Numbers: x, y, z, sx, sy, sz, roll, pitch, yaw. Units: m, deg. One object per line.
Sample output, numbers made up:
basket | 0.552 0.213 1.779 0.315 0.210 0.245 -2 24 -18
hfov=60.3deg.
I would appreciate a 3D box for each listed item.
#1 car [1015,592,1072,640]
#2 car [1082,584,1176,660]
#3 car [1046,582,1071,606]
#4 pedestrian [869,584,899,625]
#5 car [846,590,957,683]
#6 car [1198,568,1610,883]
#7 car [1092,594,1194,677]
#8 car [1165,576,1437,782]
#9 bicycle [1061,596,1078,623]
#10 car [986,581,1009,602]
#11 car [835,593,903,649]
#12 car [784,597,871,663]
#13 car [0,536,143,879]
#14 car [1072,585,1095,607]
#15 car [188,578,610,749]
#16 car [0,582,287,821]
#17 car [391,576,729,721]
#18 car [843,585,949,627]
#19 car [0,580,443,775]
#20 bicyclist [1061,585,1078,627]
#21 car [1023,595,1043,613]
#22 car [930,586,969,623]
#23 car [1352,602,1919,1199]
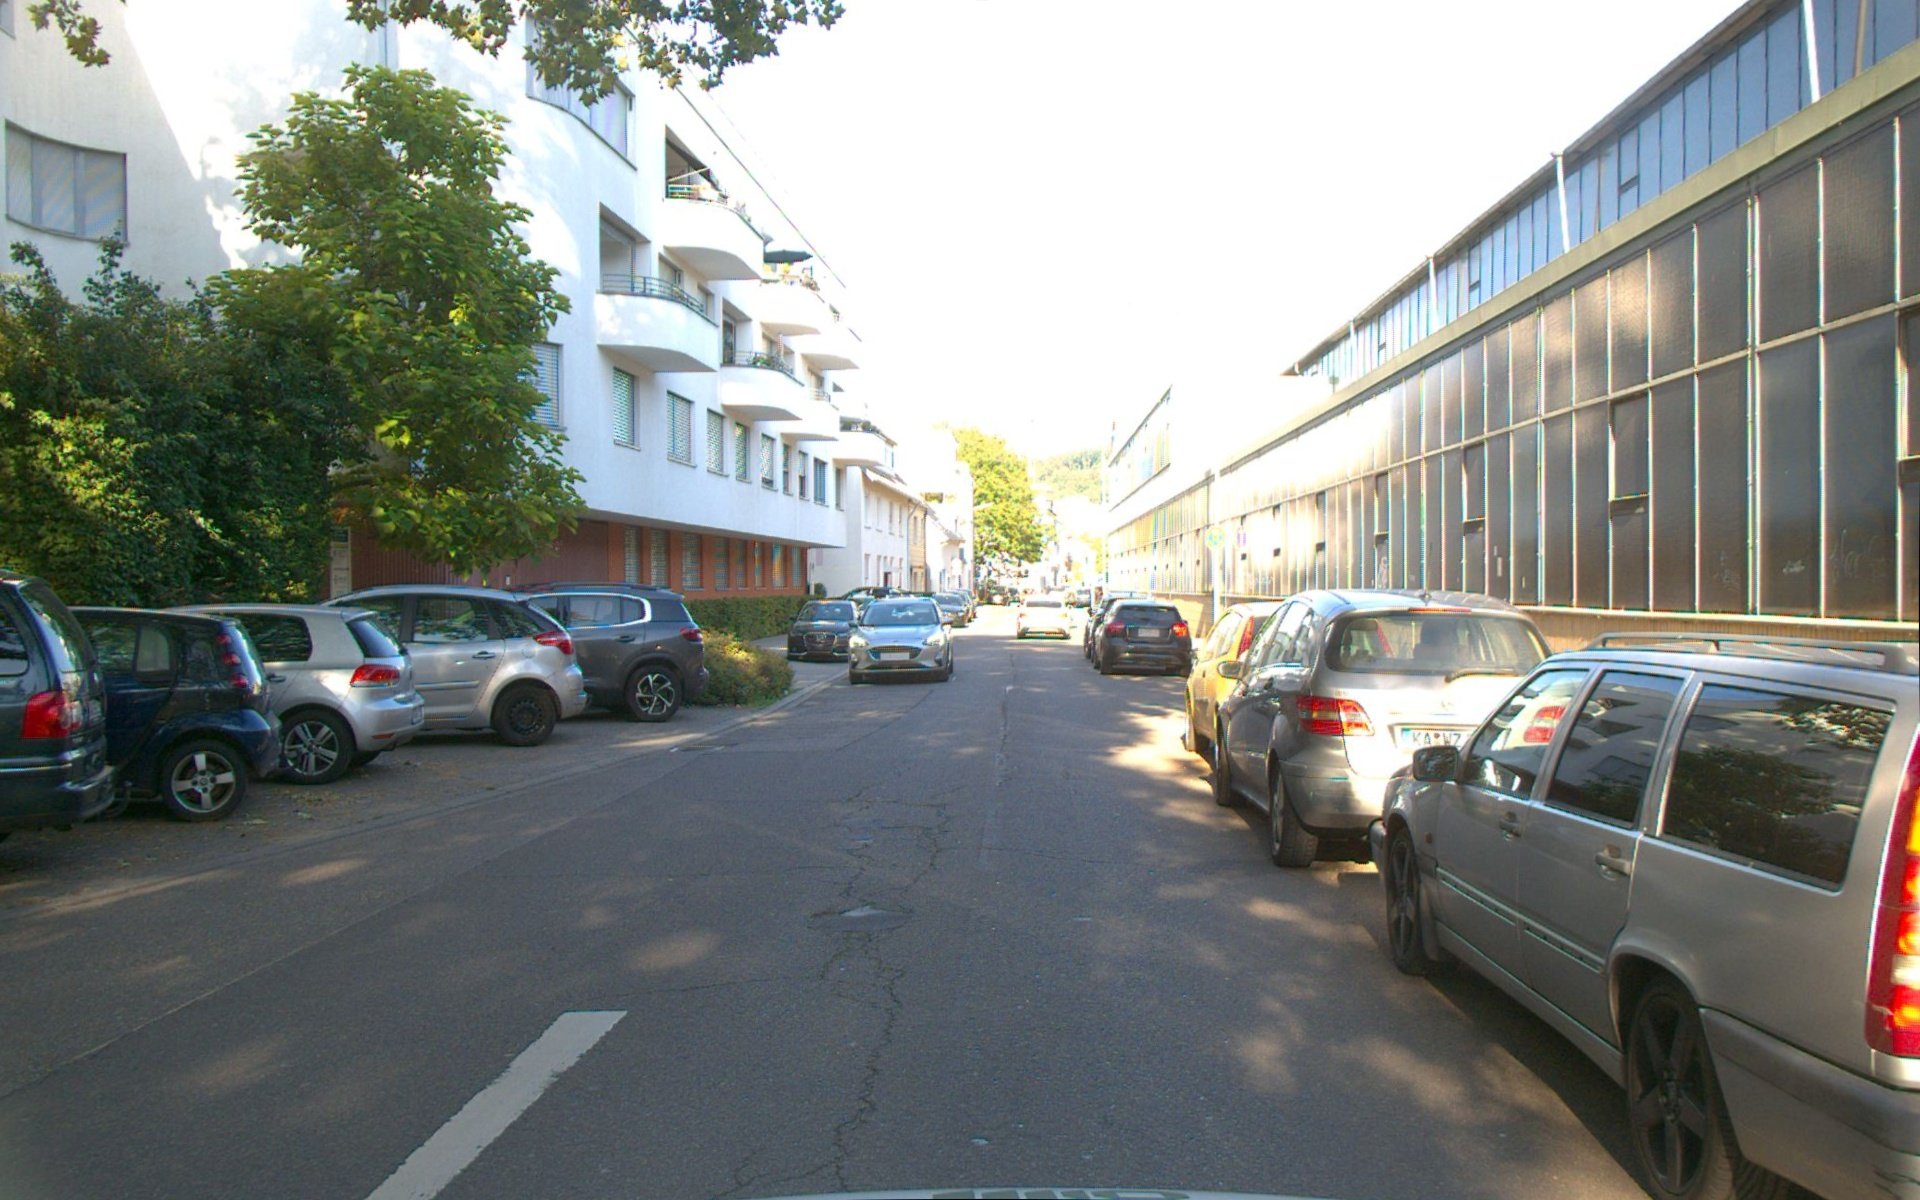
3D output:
car | 2.756 0.508 55.219 1.804 1.517 4.145 1 0 2
car | 3.880 0.476 38.625 1.770 1.615 4.405 2 0 1
car | 7.733 -0.499 129.847 1.815 1.822 4.608 0 1 1
pedestrian | -3.549 0.204 77.125 0.845 1.850 1.131 4 1 26
car | -1.029 0.616 30.535 1.861 1.563 4.620 -1 0 -1
car | 2.684 0.667 11.002 1.714 1.663 4.310 1 0 2
car | 3.620 0.670 33.437 1.714 1.517 4.623 2 0 2
car | 3.033 0.642 15.489 1.715 1.663 4.001 1 0 0
bicycle | 4.688 0.393 70.869 0.683 1.150 2.404 1 0 4
car | 3.348 -0.754 147.847 1.814 1.822 4.610 0 1 5
car | -2.785 0.618 51.589 1.820 1.615 4.621 2 0 0
car | -3.120 0.693 39.666 1.640 1.458 3.771 2 0 1
car | -6.906 0.546 9.009 4.194 1.806 1.894 1 0 -21
car | 9.716 -0.296 130.200 1.595 1.614 4.071 -3 0 3
car | -5.940 0.635 17.689 4.068 1.669 1.765 1 0 -22
car | -6.736 0.672 11.770 3.589 1.588 1.688 1 0 -23
car | -5.035 0.579 20.850 3.898 1.691 1.686 1 0 -26
car | -2.590 0.232 68.022 4.232 1.562 1.690 2 0 1
car | -6.527 0.642 14.491 3.571 1.588 1.696 1 0 -9
bicyclist | 4.698 0.255 70.891 0.683 1.821 1.041 1 0 4
car | 6.601 0.361 149.803 1.804 1.517 4.145 1 0 3
car | -0.480 0.184 73.911 1.650 1.562 4.334 2 0 -1
car | 2.683 0.778 5.111 1.861 1.519 4.529 1 0 0
